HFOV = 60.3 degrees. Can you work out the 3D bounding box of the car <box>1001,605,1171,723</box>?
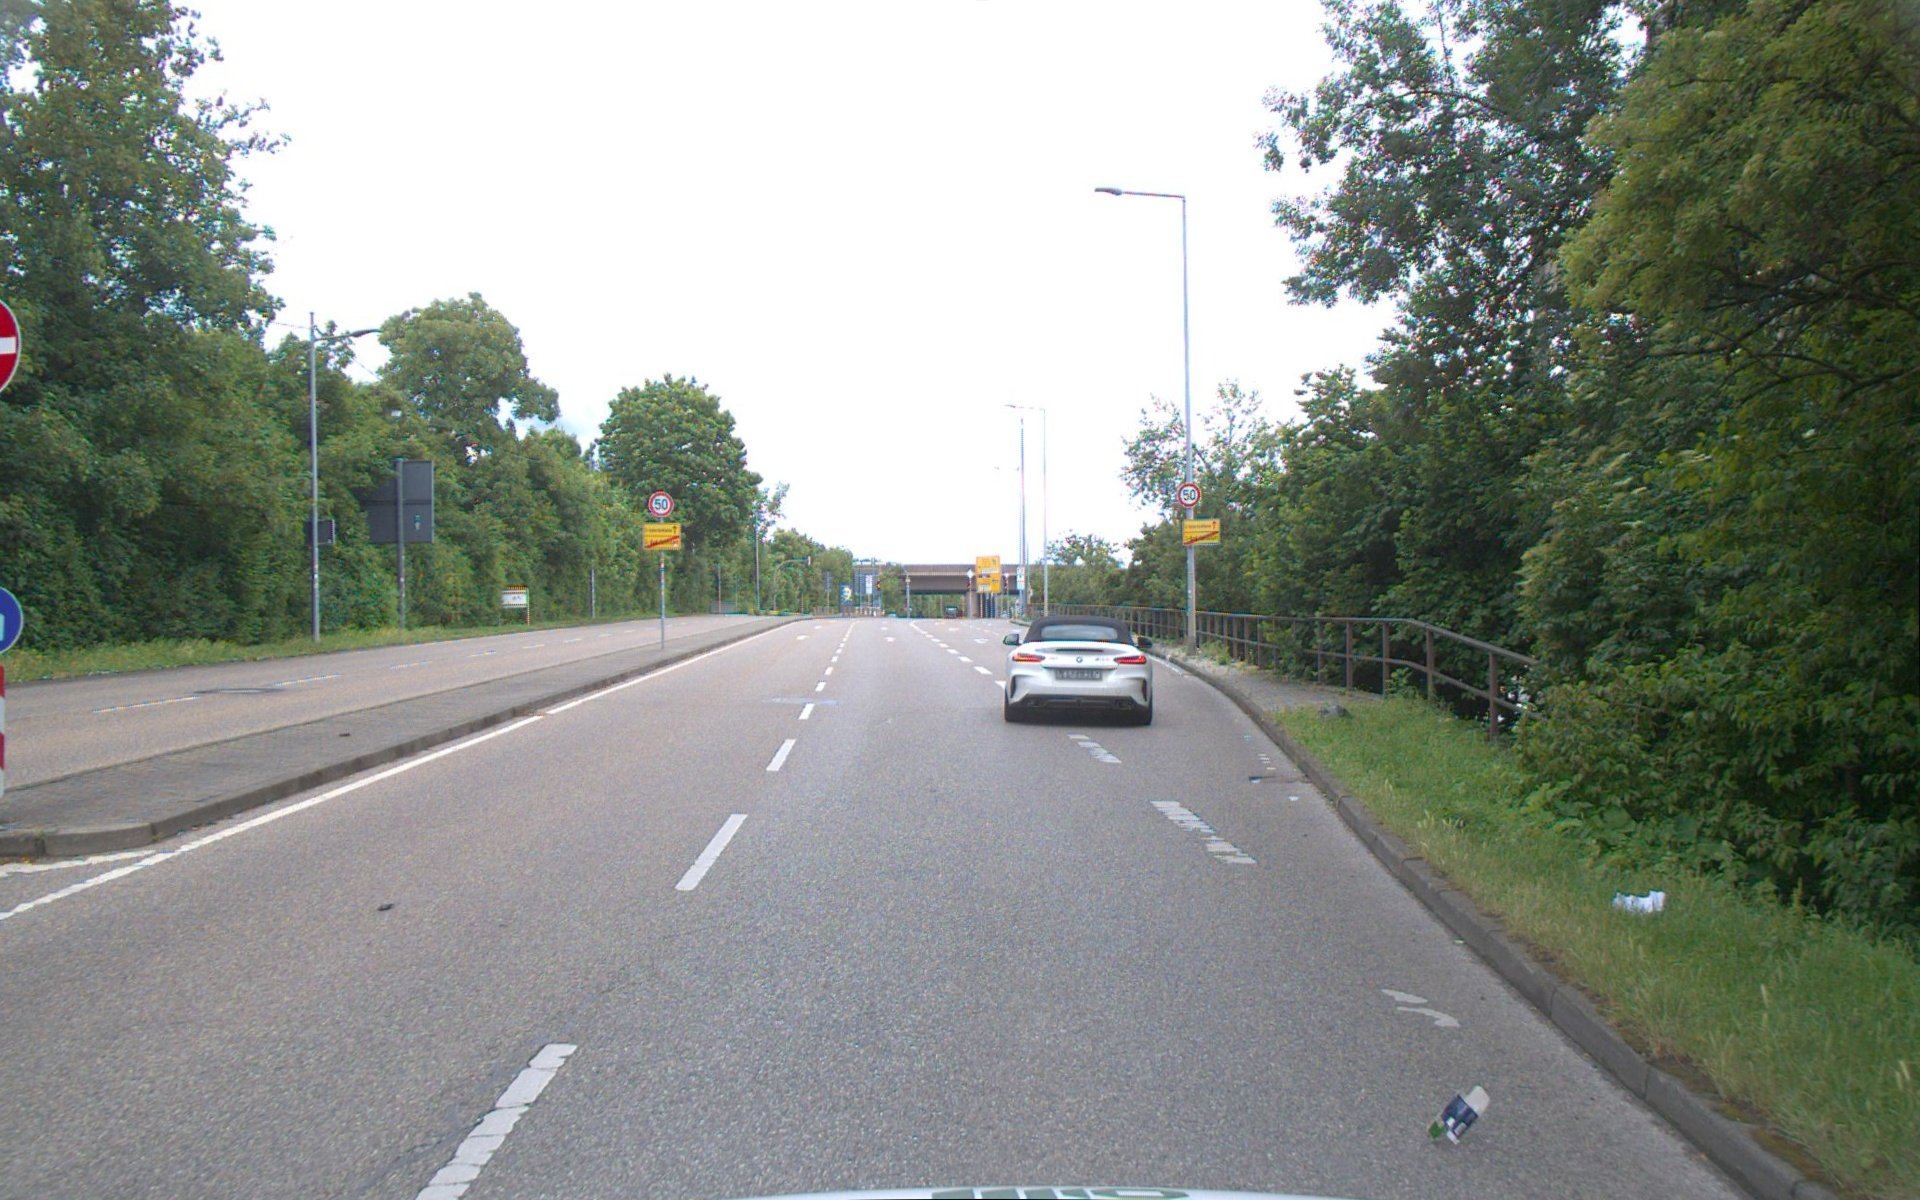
[{"bbox_3d":[1.545,0.773,21.536,1.837,1.332,3.872,2,0,-1],"label":"car"}]
